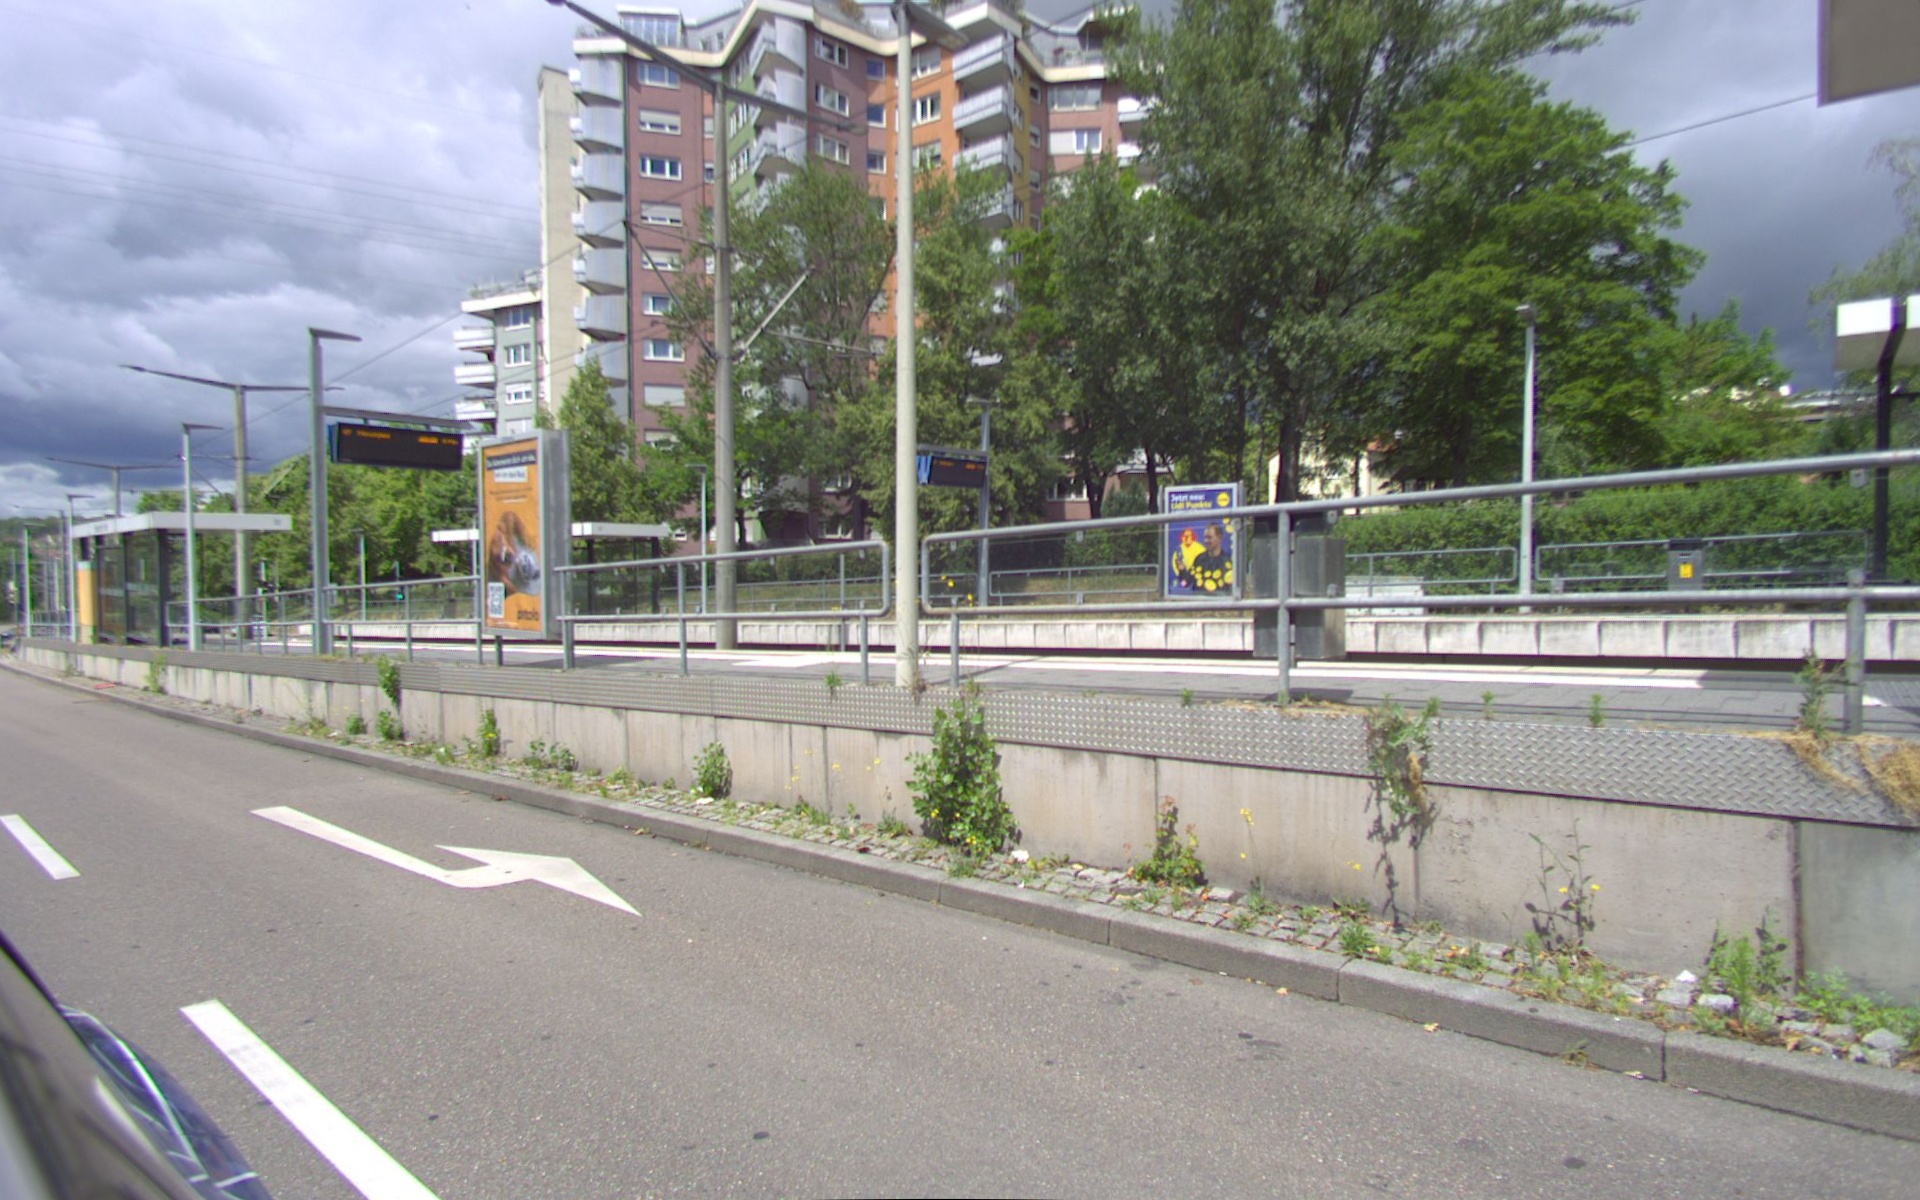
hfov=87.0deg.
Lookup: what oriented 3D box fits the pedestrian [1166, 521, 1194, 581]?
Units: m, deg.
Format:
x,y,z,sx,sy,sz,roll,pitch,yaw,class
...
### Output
x,y,z,sx,sy,sz,roll,pitch,yaw,class
6.450,-1.431,29.667,0.504,1.725,0.643,-2,-1,41,pedestrian
